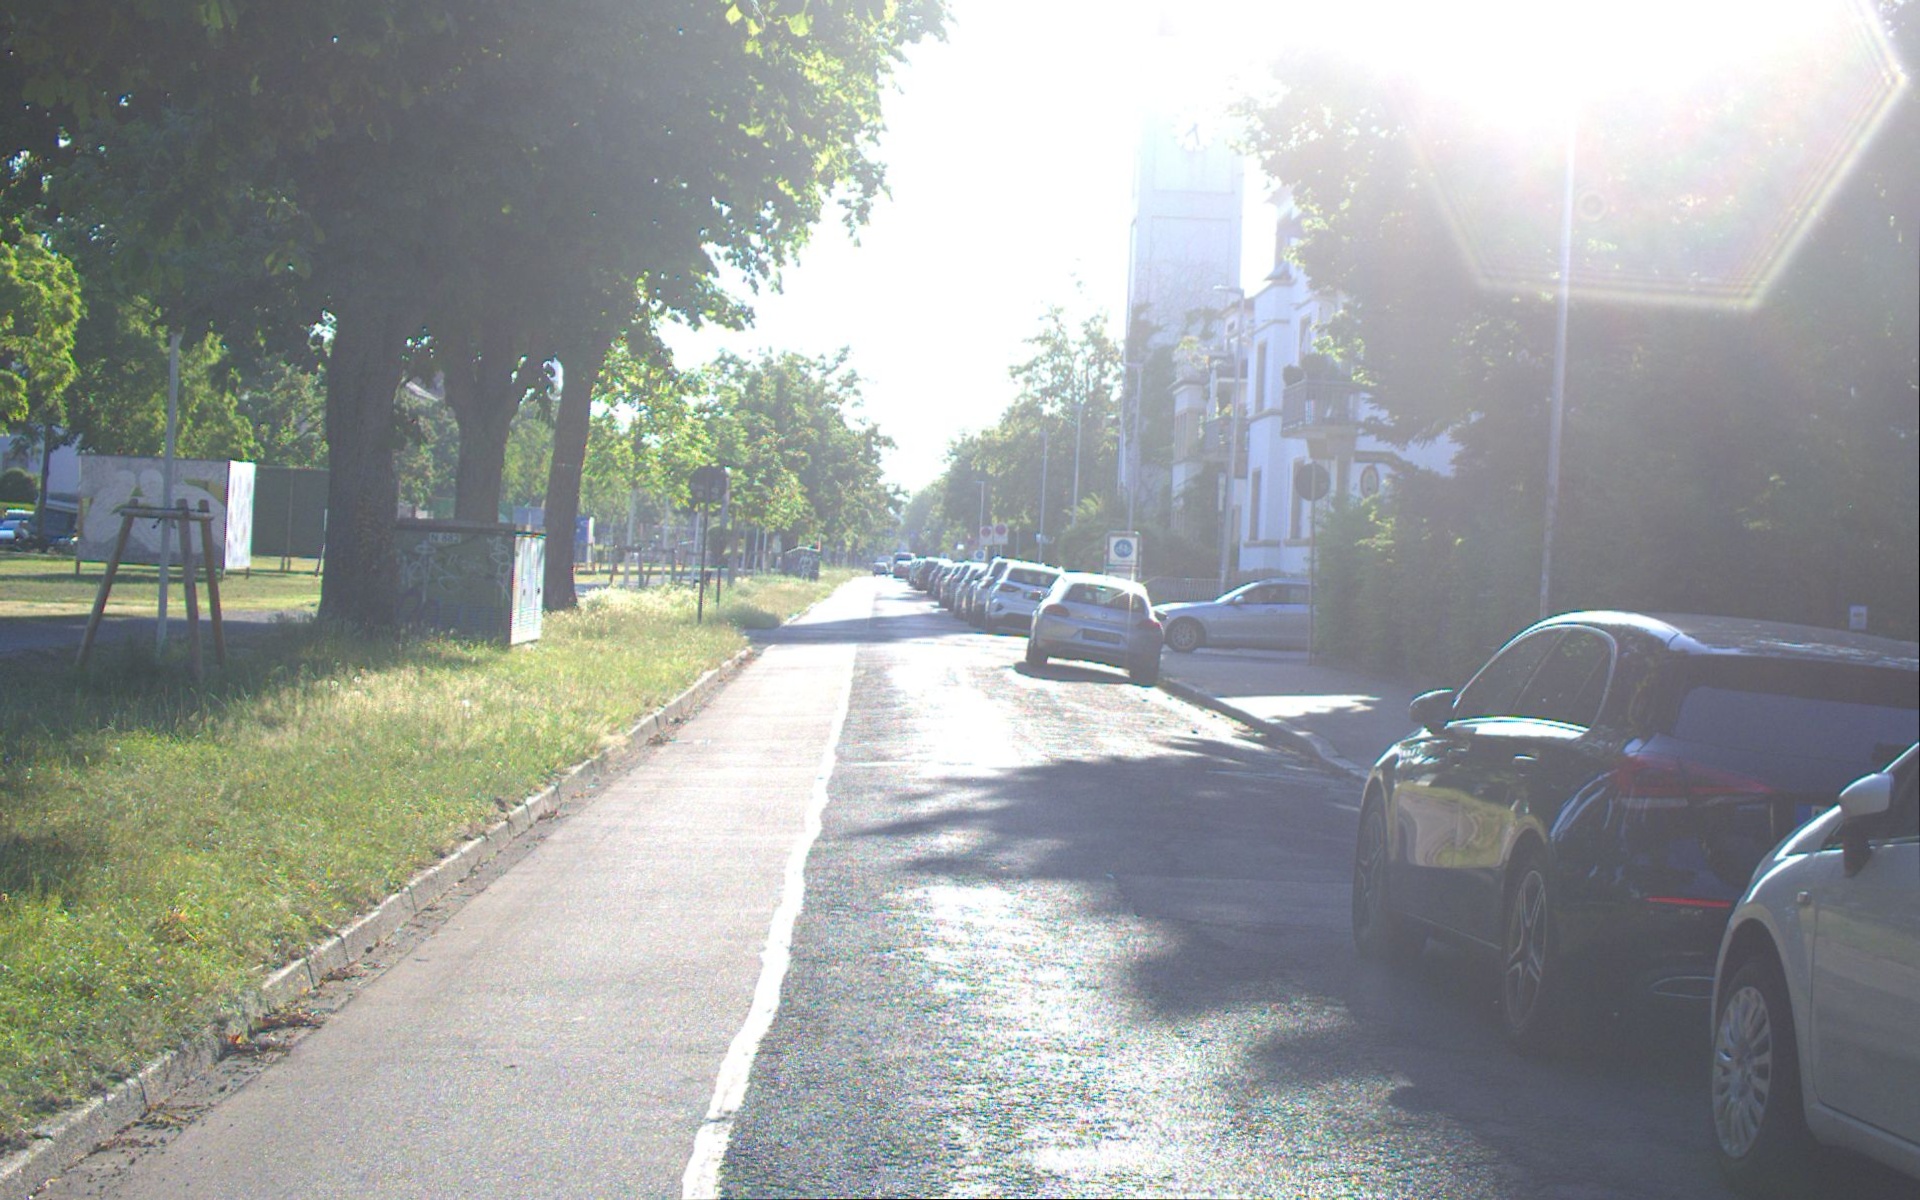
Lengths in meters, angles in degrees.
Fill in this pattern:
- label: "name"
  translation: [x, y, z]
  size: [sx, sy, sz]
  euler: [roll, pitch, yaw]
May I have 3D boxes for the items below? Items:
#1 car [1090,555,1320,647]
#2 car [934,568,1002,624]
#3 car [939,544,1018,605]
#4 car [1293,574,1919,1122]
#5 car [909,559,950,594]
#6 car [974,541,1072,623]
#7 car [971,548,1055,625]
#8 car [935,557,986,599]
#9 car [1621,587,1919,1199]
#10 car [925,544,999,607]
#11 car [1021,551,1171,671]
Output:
- label: "car"
  translation: [4.466, 0.003, 63.107]
  size: [3.986, 1.415, 1.767]
  euler: [3, 3, -2]
- label: "car"
  translation: [0.233, -0.125, 103.233]
  size: [1.761, 1.516, 4.000]
  euler: [4, 1, -2]
- label: "car"
  translation: [0.446, -0.661, 87.549]
  size: [1.760, 1.415, 4.001]
  euler: [3, 1, -2]
- label: "car"
  translation: [2.450, 0.730, 12.162]
  size: [1.748, 1.472, 4.289]
  euler: [4, 1, -4]
- label: "car"
  translation: [-1.520, -1.191, 174.541]
  size: [1.980, 1.677, 4.000]
  euler: [2, 1, 0]
- label: "car"
  translation: [1.293, -0.407, 72.753]
  size: [1.758, 1.599, 4.359]
  euler: [2, 1, -2]
- label: "car"
  translation: [1.192, -0.331, 78.889]
  size: [1.685, 1.645, 4.100]
  euler: [3, 1, -1]
- label: "car"
  translation: [0.022, -0.898, 139.857]
  size: [1.993, 1.624, 4.000]
  euler: [2, 1, 0]
- label: "car"
  translation: [2.832, 0.832, 7.162]
  size: [1.691, 1.478, 3.930]
  euler: [6, 1, -5]
- label: "car"
  translation: [0.032, -0.683, 93.132]
  size: [1.758, 1.599, 4.359]
  euler: [2, 1, -2]
- label: "car"
  translation: [1.911, 0.120, 49.424]
  size: [1.757, 1.415, 4.072]
  euler: [8, 1, -1]
